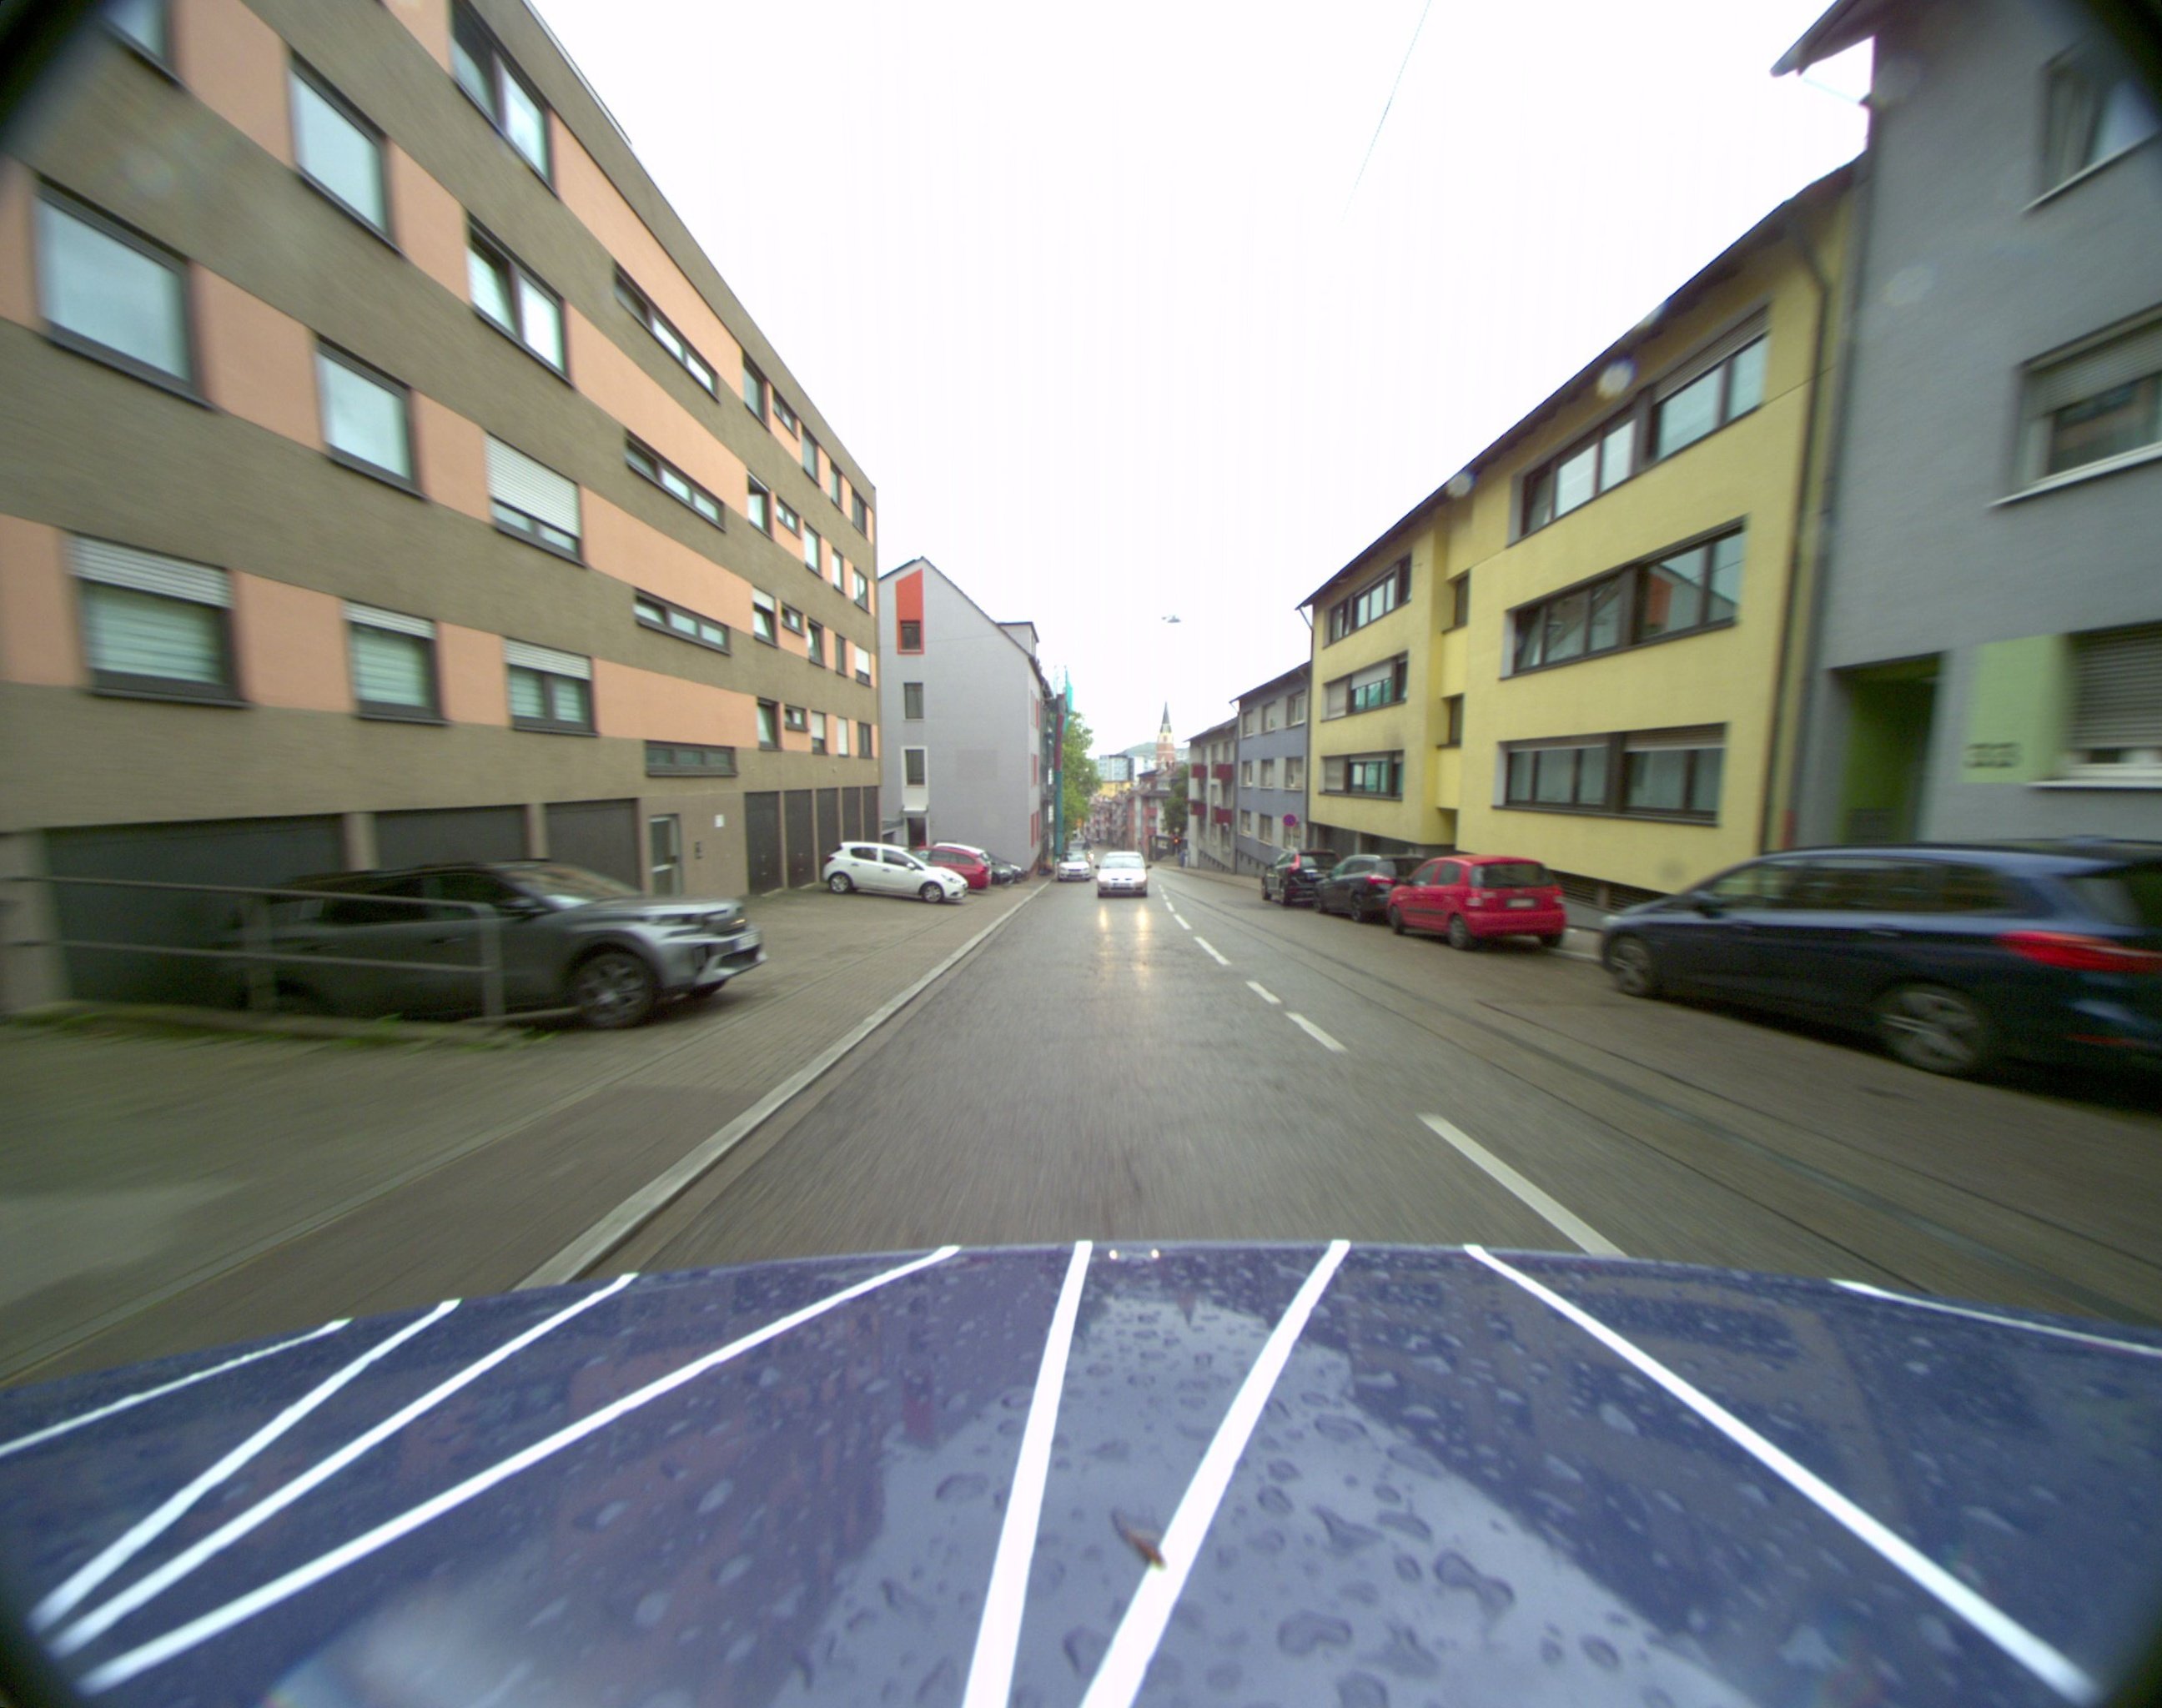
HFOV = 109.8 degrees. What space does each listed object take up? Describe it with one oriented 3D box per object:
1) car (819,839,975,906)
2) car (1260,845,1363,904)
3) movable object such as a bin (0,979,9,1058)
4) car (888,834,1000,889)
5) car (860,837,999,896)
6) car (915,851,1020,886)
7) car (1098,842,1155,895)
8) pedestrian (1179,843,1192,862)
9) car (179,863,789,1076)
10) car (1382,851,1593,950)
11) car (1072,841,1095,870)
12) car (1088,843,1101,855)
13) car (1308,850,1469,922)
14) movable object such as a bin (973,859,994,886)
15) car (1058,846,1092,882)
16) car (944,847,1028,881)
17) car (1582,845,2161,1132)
[{"bbox_3d":[-5.150,0.507,21.686,3.973,1.521,1.692,5,1,-3],"label":"car"},{"bbox_3d":[6.887,0.563,23.241,1.998,1.640,4.442,0,0,3],"label":"car"},{"bbox_3d":[-8.020,0.950,5.169,0.603,1.055,0.509,-2,3,-2],"label":"movable object such as a bin"},{"bbox_3d":[-5.189,0.271,29.170,3.836,1.692,1.728,6,1,-1],"label":"car"},{"bbox_3d":[-5.216,0.402,26.558,4.352,1.521,1.876,6,1,-1],"label":"car"},{"bbox_3d":[-4.849,0.595,32.916,4.279,1.458,1.893,0,1,-1],"label":"car"},{"bbox_3d":[1.513,0.439,26.521,1.720,1.528,3.998,-2,3,0],"label":"car"},{"bbox_3d":[8.827,-0.100,64.248,0.871,1.532,1.087,-2,-1,-1],"label":"pedestrian"},{"bbox_3d":[-5.227,0.954,7.144,4.209,1.487,1.759,-3,1,-2],"label":"car"},{"bbox_3d":[6.754,0.683,13.075,1.733,1.464,3.490,0,0,-1],"label":"car"},{"bbox_3d":[0.236,0.104,71.972,1.998,2.401,5.833,-2,3,1],"label":"car"},{"bbox_3d":[1.733,-0.636,95.785,1.637,1.521,4.000,-2,1,2],"label":"car"},{"bbox_3d":[7.027,0.656,17.914,1.999,1.464,4.347,0,0,-1],"label":"car"},{"bbox_3d":[-3.960,0.746,30.986,0.724,1.015,0.771,-2,3,0],"label":"movable object such as a bin"},{"bbox_3d":[-0.321,0.499,40.502,1.644,1.752,4.000,-2,0,-1],"label":"car"},{"bbox_3d":[-4.495,0.475,36.201,3.812,1.541,1.660,0,1,-1],"label":"car"},{"bbox_3d":[6.722,0.725,6.413,1.999,1.576,4.471,0,0,-1],"label":"car"}]
